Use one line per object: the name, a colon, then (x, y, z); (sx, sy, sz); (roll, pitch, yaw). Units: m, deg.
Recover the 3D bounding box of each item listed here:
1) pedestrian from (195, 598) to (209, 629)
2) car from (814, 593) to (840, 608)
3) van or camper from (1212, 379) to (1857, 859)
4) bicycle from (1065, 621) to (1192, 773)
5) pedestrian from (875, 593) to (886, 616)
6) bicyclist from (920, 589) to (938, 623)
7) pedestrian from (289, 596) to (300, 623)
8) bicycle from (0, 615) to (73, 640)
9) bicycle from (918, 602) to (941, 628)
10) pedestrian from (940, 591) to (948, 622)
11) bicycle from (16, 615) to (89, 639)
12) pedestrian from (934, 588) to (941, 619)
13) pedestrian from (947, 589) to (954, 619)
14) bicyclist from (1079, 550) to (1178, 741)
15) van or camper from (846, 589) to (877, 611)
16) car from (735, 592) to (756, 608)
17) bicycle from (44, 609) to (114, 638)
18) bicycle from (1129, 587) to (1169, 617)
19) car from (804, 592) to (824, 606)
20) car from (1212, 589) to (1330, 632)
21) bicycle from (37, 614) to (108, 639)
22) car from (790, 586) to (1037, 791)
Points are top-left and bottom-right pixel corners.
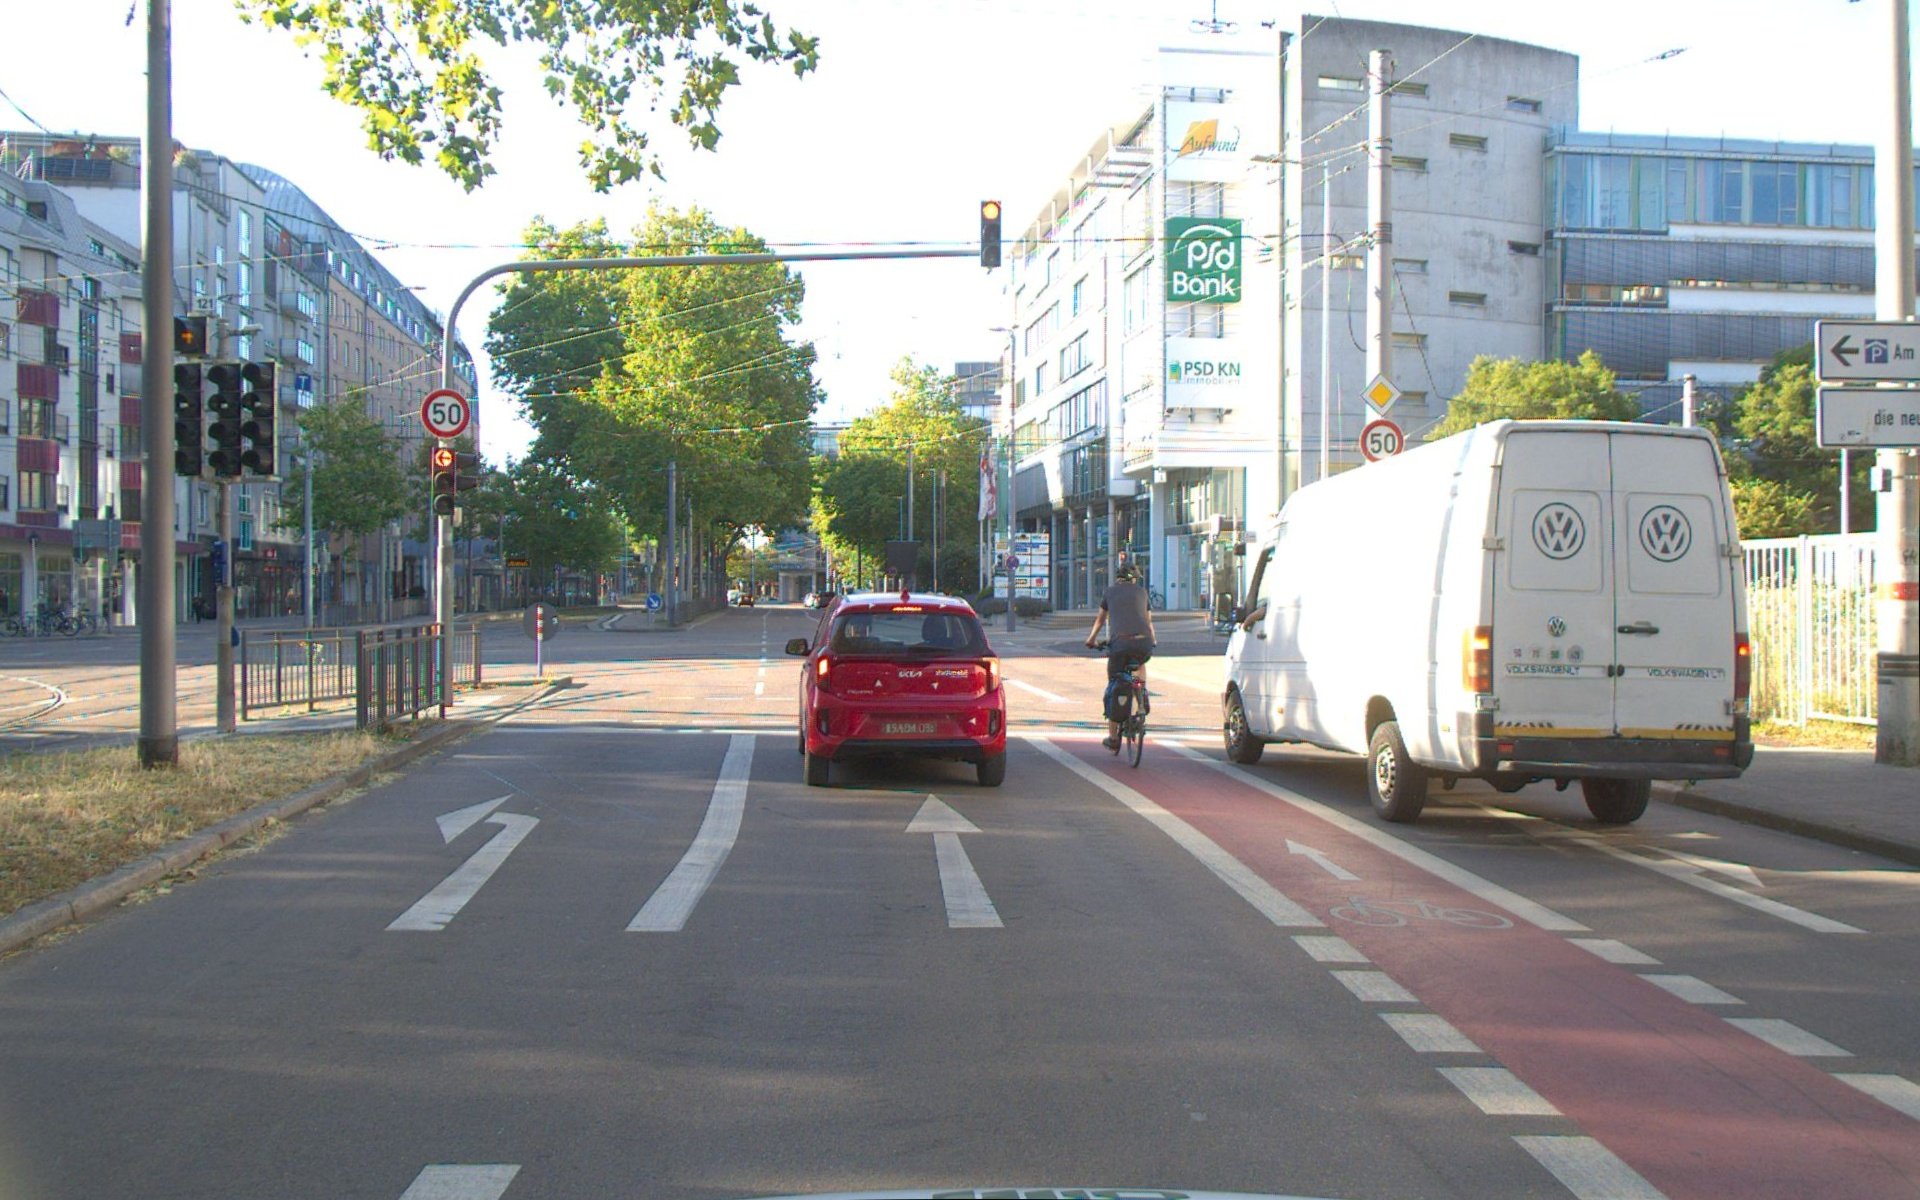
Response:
pedestrian: (-36.410, 0.628, 79.439); (0.502, 1.484, 0.526); (-1, 0, -16)
car: (-13.796, 0.043, 171.296); (2.432, 1.555, 4.423); (-1, 1, -9)
van or camper: (3.931, 0.105, 13.013); (2.225, 2.781, 6.338); (2, 0, -6)
bicycle: (1.527, 0.852, 15.387); (0.729, 1.245, 2.153); (1, 1, -6)
pedestrian: (-6.011, 0.335, 124.423); (0.729, 1.746, 0.746); (0, 0, -9)
bicyclist: (-1.526, 0.300, 80.613); (0.771, 1.663, 0.637); (0, 0, -9)
pedestrian: (-37.958, 0.539, 94.343); (0.501, 1.484, 0.527); (-1, 0, -9)
bicycle: (-31.337, 0.934, 56.068); (2.130, 0.801, 0.639); (-1, 0, -11)
bicycle: (-1.500, 0.717, 80.500); (0.778, 1.182, 2.495); (0, 0, -9)
pedestrian: (-0.828, 0.352, 85.286); (0.289, 1.589, 0.354); (-1, 0, -16)
bicycle: (-31.183, 0.926, 56.855); (2.130, 0.801, 0.490); (-1, 0, -11)
pedestrian: (-1.138, 0.201, 85.097); (0.289, 1.589, 0.301); (-1, 0, -16)
pedestrian: (-0.499, 0.208, 85.538); (0.288, 1.589, 0.314); (-1, 0, -6)
bicyclist: (1.545, 0.406, 15.258); (0.729, 1.698, 0.744); (1, 0, -7)
van or camper: (-8.331, -0.028, 139.312); (2.106, 1.781, 4.421); (-1, 1, -10)
car: (-23.589, -0.051, 181.945); (2.021, 1.682, 3.482); (-1, 1, -12)
bicycle: (-31.338, 0.836, 58.850); (2.130, 0.967, 0.490); (-1, 0, -11)
bicycle: (9.481, 0.095, 82.929); (1.898, 1.468, 0.574); (-1, 0, -9)
car: (-16.483, -0.155, 186.913); (1.850, 1.555, 4.421); (-1, 1, -10)
car: (12.100, 0.406, 64.489); (4.181, 1.595, 1.846); (-1, 0, -9)
bicycle: (-31.215, 0.931, 58.218); (2.130, 0.838, 0.526); (-1, 0, -11)
car: (-0.531, 0.641, 14.293); (1.804, 1.515, 3.711); (0, 0, -7)
